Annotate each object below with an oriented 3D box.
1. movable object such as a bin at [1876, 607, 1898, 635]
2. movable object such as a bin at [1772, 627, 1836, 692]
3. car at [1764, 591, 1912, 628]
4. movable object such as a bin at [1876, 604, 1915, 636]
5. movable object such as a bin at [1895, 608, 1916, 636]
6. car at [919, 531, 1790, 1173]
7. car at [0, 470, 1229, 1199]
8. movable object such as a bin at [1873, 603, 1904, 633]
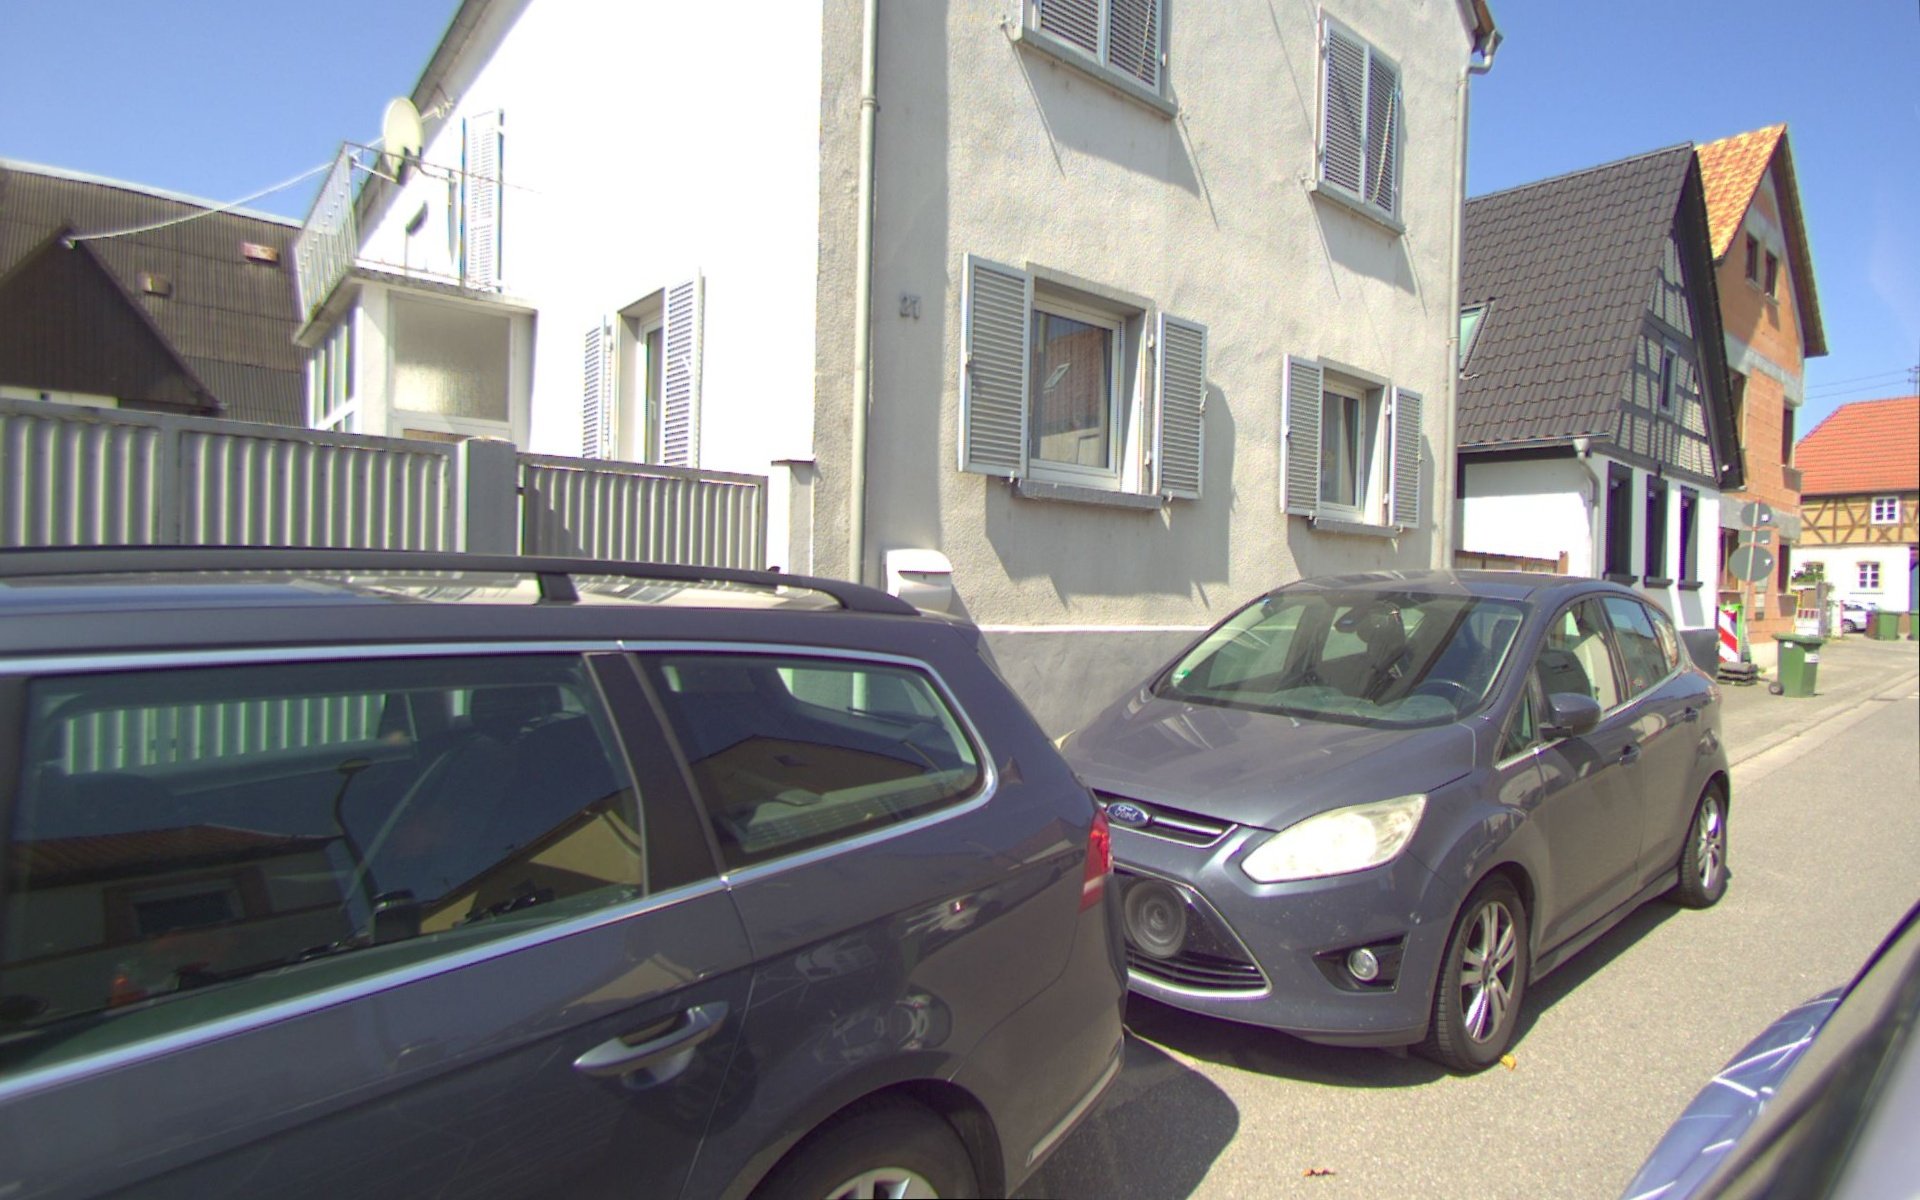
[{"bbox_3d":[33.599,0.757,36.684,0.486,0.982,0.466,1,1,-34],"label":"movable object such as a bin"},{"bbox_3d":[12.678,0.876,15.209,0.540,0.925,0.541,1,1,-24],"label":"movable object such as a bin"},{"bbox_3d":[40.374,0.405,46.676,1.960,1.470,4.774,1,2,-30],"label":"car"},{"bbox_3d":[32.888,0.711,35.599,0.751,1.085,0.669,1,1,17],"label":"movable object such as a bin"},{"bbox_3d":[33.952,0.789,36.336,0.453,0.961,0.446,0,1,-33],"label":"movable object such as a bin"},{"bbox_3d":[2.156,0.591,4.659,4.550,1.579,1.801,0,2,-41],"label":"car"},{"bbox_3d":[-1.703,0.624,1.316,4.503,1.527,1.822,0,2,-42],"label":"car"},{"bbox_3d":[35.701,0.688,38.916,0.741,1.095,0.722,1,1,-36],"label":"movable object such as a bin"}]
